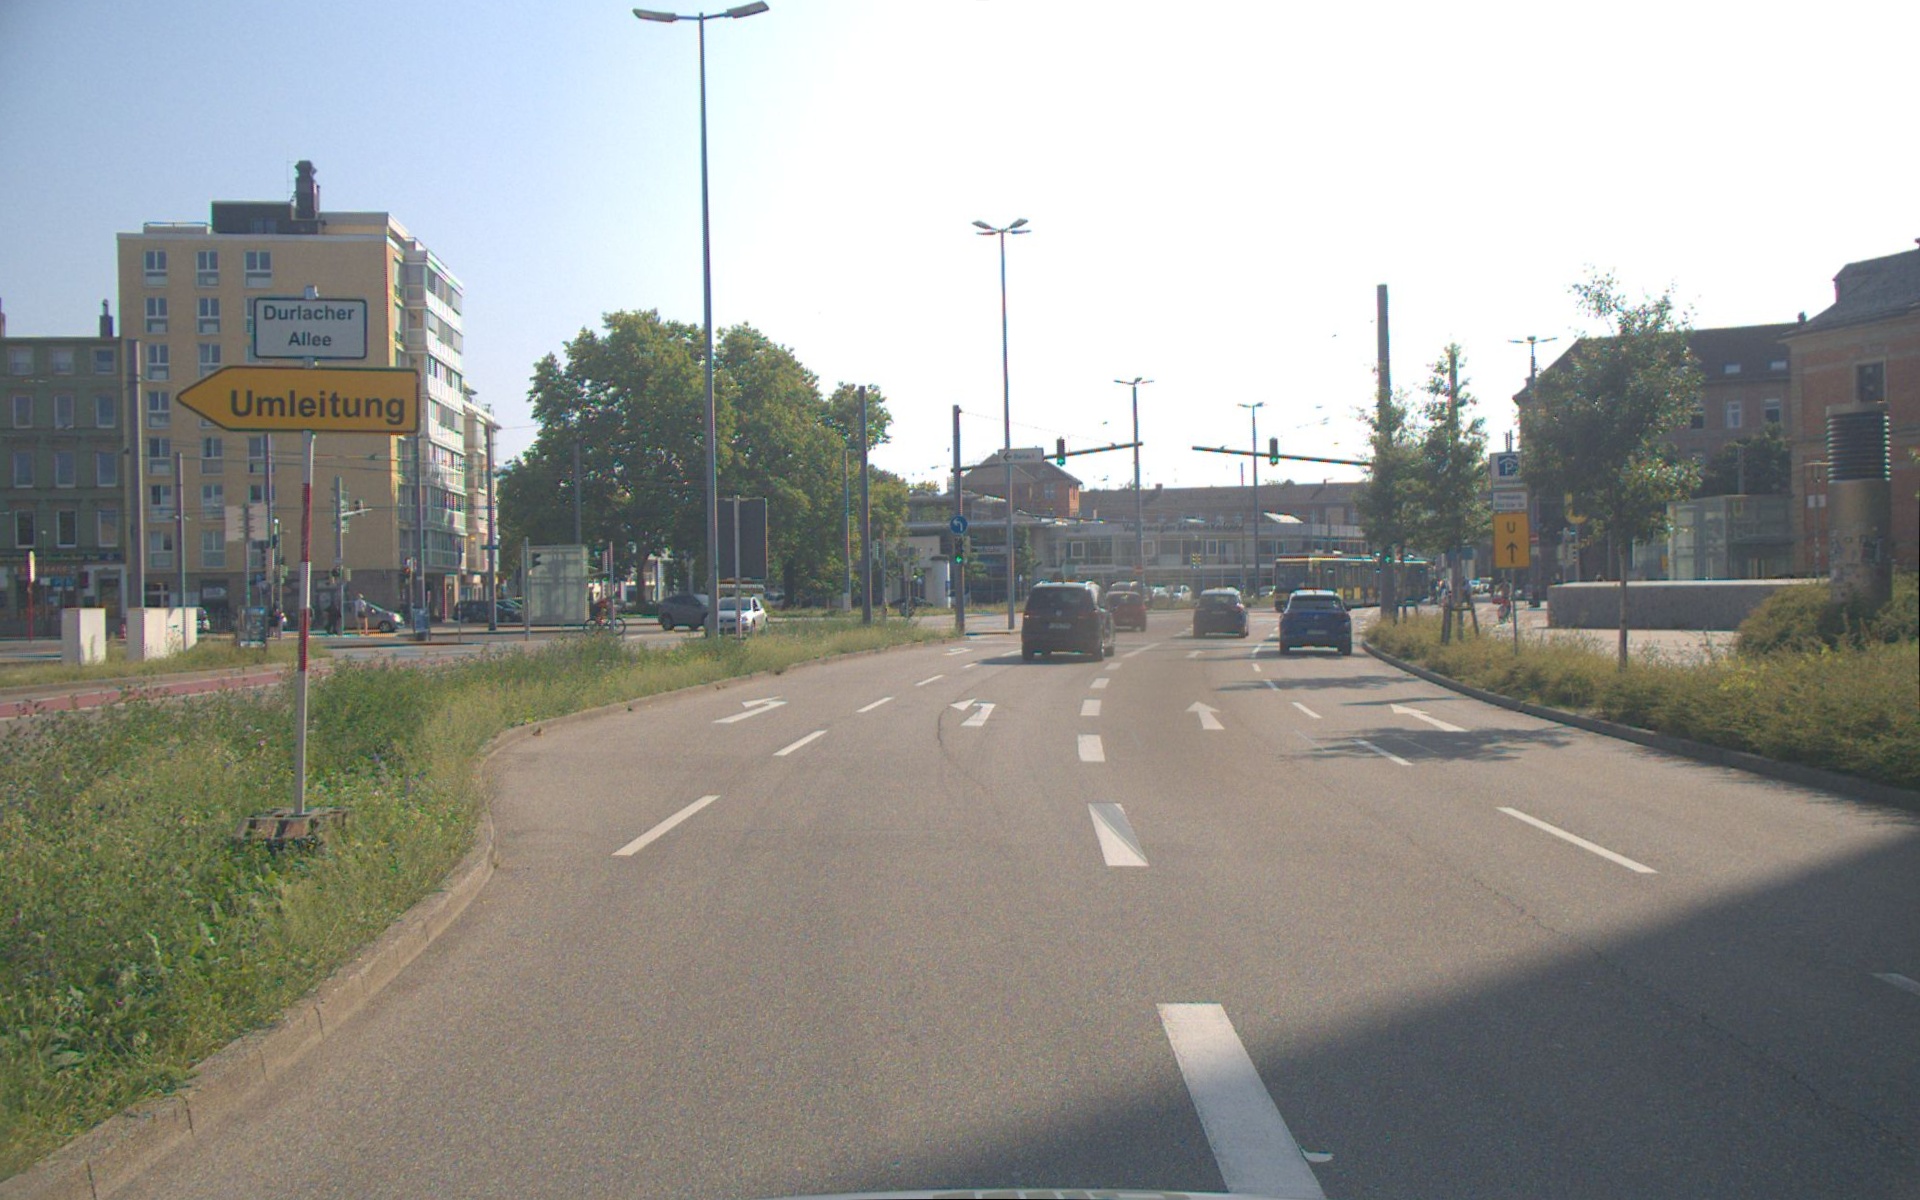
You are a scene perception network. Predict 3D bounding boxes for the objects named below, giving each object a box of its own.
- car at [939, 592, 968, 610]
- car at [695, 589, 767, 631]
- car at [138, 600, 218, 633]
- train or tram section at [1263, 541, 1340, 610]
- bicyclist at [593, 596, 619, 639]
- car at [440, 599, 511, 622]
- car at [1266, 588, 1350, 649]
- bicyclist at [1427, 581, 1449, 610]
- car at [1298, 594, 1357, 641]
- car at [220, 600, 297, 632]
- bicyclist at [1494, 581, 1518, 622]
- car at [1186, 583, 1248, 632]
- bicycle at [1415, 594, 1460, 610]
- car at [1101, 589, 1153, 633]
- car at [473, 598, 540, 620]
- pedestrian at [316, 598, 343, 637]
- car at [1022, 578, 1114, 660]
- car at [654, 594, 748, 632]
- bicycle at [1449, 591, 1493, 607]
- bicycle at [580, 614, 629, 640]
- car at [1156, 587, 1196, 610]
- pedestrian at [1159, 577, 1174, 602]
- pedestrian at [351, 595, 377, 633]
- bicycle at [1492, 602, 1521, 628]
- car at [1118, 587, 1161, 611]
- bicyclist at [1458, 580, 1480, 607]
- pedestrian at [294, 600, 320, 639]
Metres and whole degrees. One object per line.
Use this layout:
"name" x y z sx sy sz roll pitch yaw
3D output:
"car" -0.558 0.059 147.734 1.663 1.549 4.103 -1 0 14
"car" -8.305 0.339 60.306 1.775 1.458 4.227 -1 0 3
"car" -42.363 0.905 89.539 4.457 1.708 1.993 -1 0 35
"train or tram section" 20.245 -1.447 97.584 2.600 3.763 10.589 -1 0 22
"bicyclist" -14.026 0.683 65.532 0.863 1.681 0.726 -1 0 -1
"car" -30.495 0.676 104.116 4.079 1.378 1.478 -1 0 -9
"car" 8.884 0.437 42.536 1.786 1.453 4.416 -1 0 8
"bicyclist" 30.634 -0.281 106.100 0.918 1.831 1.089 -1 0 -14
"car" 12.398 0.555 55.972 1.786 1.453 4.416 -1 0 11
"car" -38.039 0.858 89.681 4.463 1.708 1.991 -1 0 39
"bicyclist" 21.002 0.067 63.623 0.706 1.539 1.003 -1 0 29
"car" 8.848 0.243 56.667 1.786 1.562 4.416 -1 0 13
"bicycle" 30.655 0.148 106.108 2.574 0.981 1.089 -1 0 -14
"car" 6.405 0.391 63.129 1.786 1.562 4.416 -1 0 8
"car" -30.253 0.577 110.390 4.079 1.378 1.575 -1 0 -9
"pedestrian" -28.526 0.781 74.856 0.904 1.719 0.921 -1 0 -7
"car" 2.544 0.383 38.080 1.786 1.744 4.416 1 1 8
"car" -11.827 0.607 75.542 4.374 1.645 1.692 -1 0 38
"bicycle" 33.149 -0.055 107.258 2.574 0.981 1.089 -1 0 -14
"bicycle" -14.063 1.066 65.525 1.776 0.948 0.726 -1 0 -2
"car" 14.982 -0.113 114.819 1.582 1.501 3.998 -3 -1 25
"pedestrian" 12.955 -0.651 103.596 0.762 1.529 0.710 -1 0 23
"pedestrian" -27.004 0.623 75.005 0.904 1.719 0.921 -1 0 -7
"bicycle" 21.052 0.572 63.684 0.706 0.976 1.918 -1 0 29
"car" 11.786 -0.082 108.459 1.582 1.501 3.998 -3 -1 25
"bicyclist" 32.959 -0.425 107.203 0.918 1.709 1.089 -1 0 -14
"pedestrian" -29.603 0.871 75.006 0.904 1.719 0.921 -1 0 -7
